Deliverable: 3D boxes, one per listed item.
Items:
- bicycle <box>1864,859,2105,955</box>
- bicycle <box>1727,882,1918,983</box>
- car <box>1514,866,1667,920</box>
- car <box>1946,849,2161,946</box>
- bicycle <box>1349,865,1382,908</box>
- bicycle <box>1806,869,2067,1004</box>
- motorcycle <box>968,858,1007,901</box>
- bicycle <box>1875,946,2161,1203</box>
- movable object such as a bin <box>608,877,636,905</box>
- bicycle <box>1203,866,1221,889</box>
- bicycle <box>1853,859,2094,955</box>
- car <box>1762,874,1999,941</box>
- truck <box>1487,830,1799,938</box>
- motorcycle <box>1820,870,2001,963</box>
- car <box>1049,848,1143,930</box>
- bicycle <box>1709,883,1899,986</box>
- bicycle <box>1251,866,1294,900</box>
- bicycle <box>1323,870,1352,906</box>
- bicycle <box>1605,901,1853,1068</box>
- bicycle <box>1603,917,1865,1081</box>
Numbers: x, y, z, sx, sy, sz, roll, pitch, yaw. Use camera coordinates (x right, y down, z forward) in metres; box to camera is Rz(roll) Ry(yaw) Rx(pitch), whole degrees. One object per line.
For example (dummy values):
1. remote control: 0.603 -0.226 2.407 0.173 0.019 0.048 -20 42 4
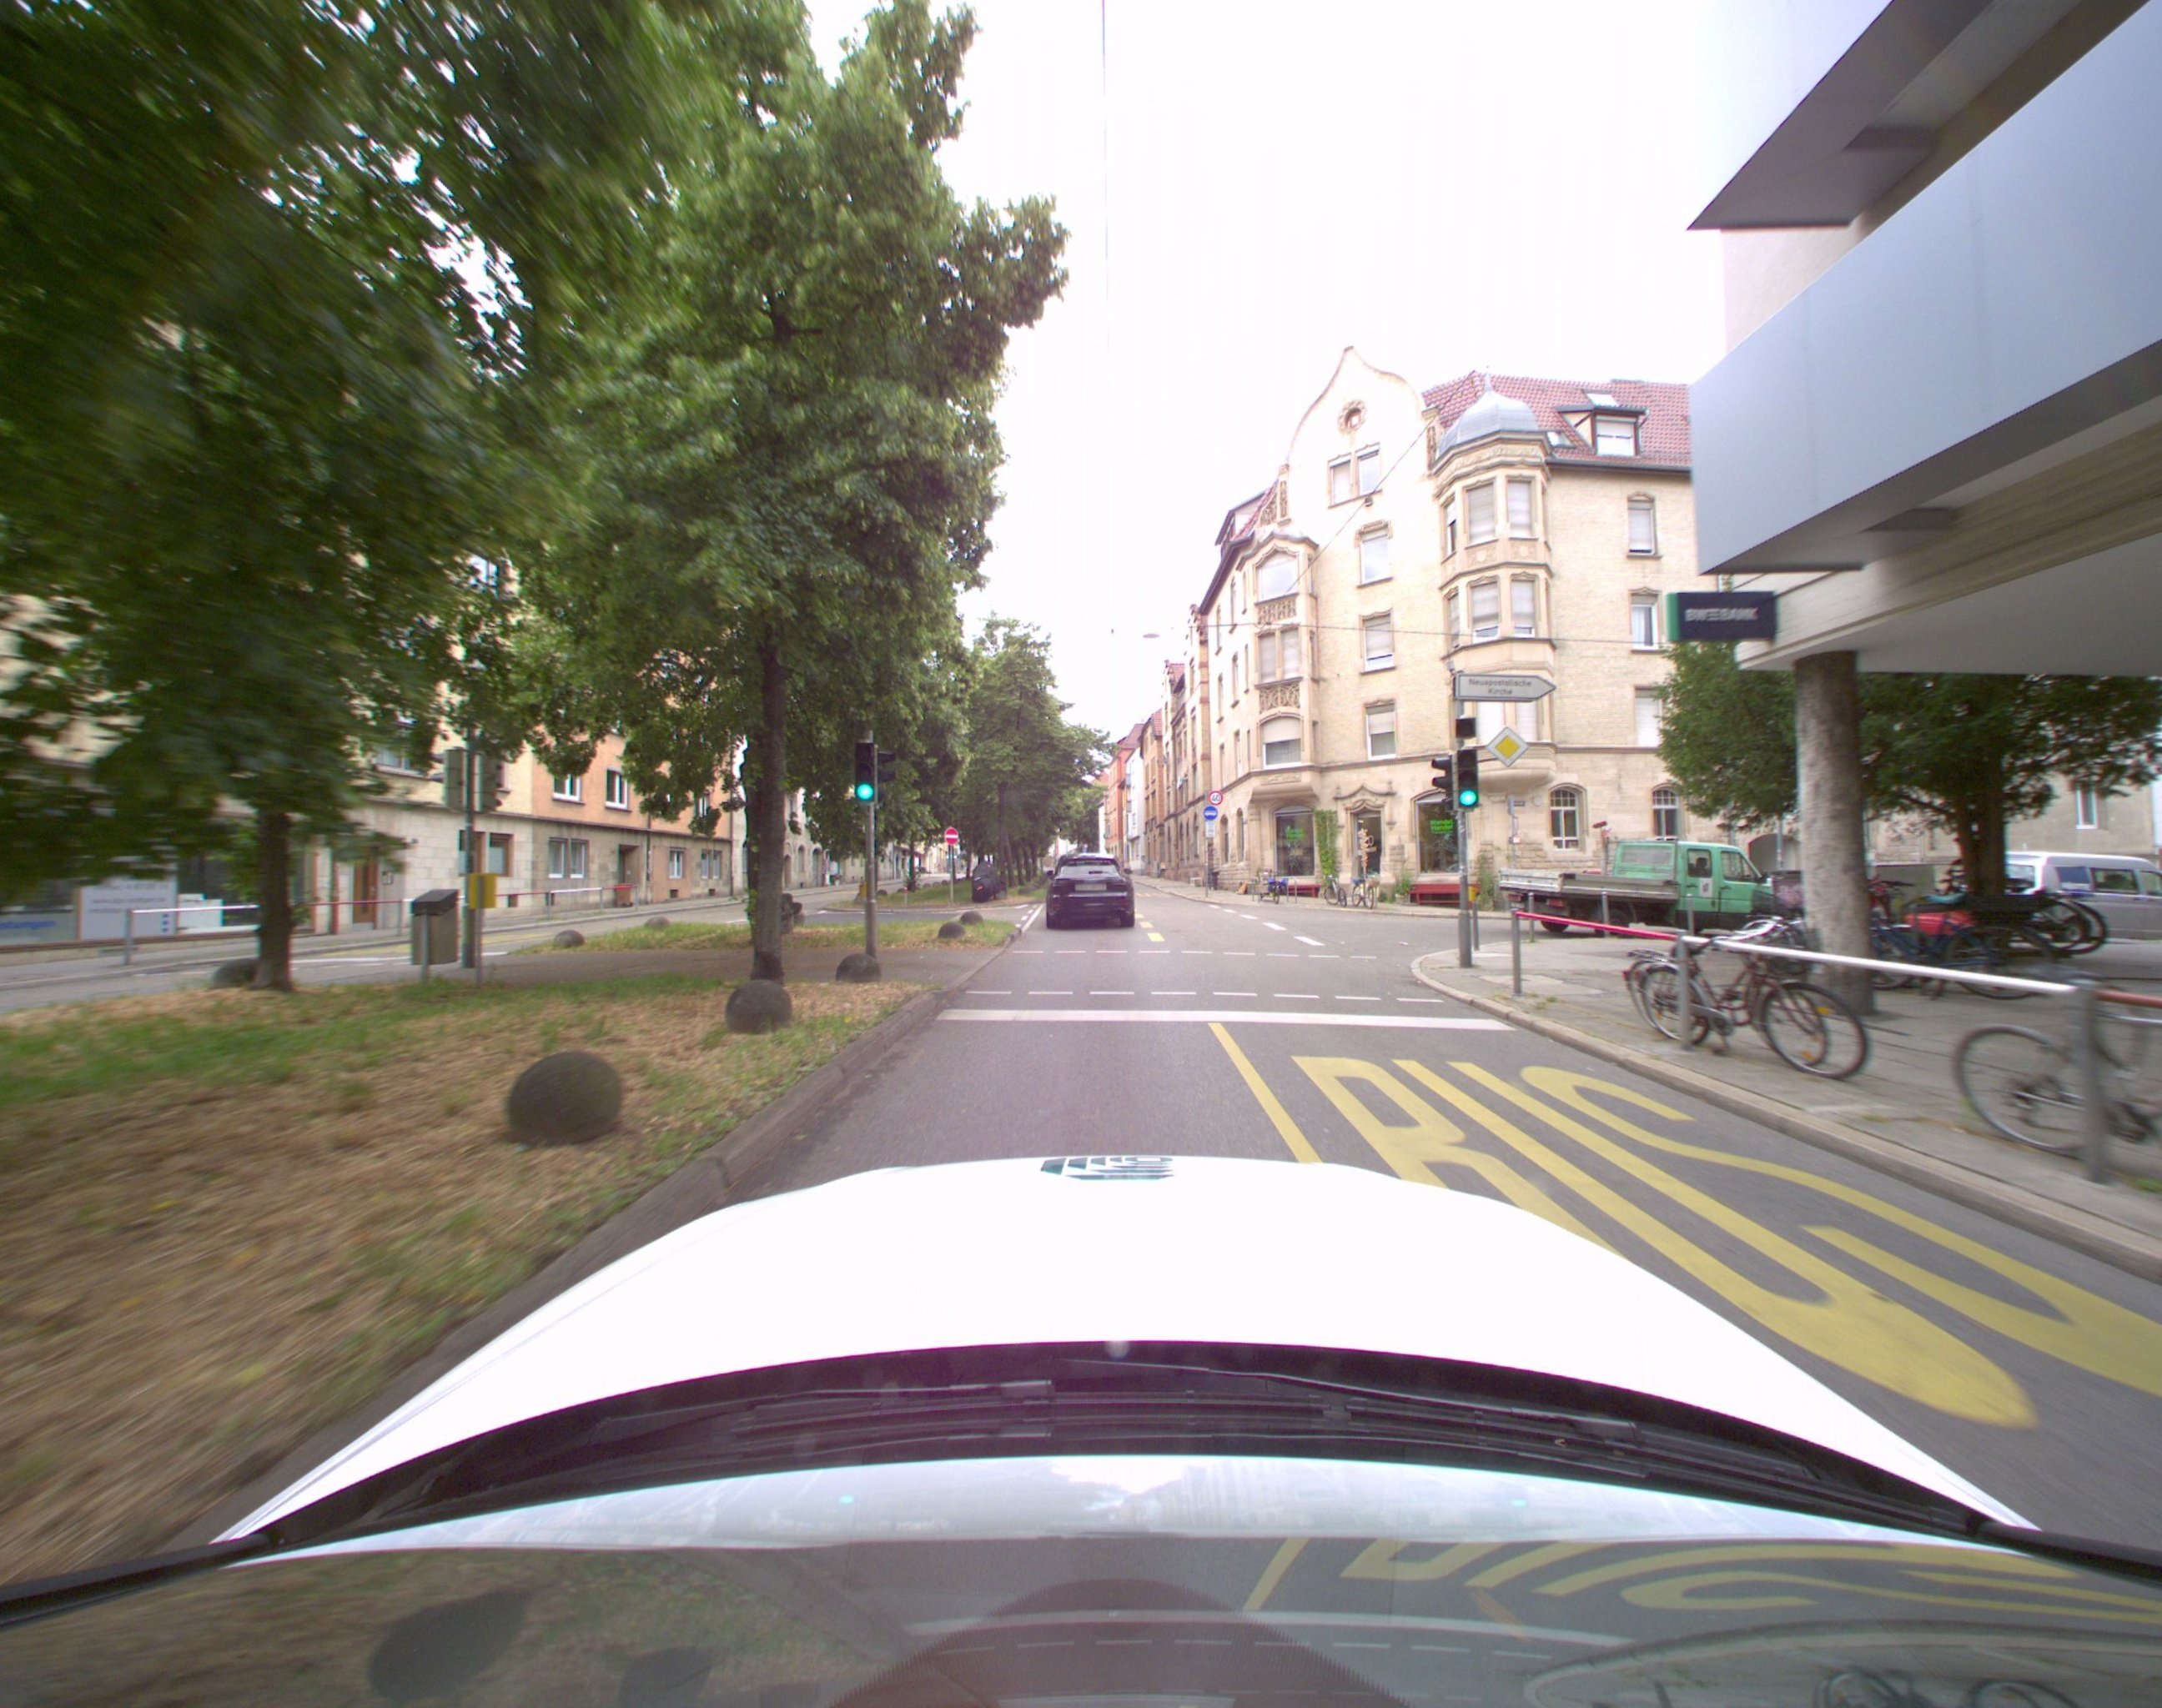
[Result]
1. bicycle: 12.362 0.675 11.283 0.278 1.187 2.314 0 -1 -17
2. bicycle: 8.632 0.867 9.587 0.319 1.043 1.751 0 -1 -16
3. car: 14.791 1.110 23.752 3.354 1.482 1.862 1 -1 -6
4. car: 23.349 0.990 19.081 4.455 2.127 1.879 1 -1 -5
5. bicycle: 9.161 1.037 26.292 0.445 1.161 1.835 -2 4 0
6. bicycle: 8.366 0.748 8.069 0.320 1.198 1.744 0 -1 -30
7. motorcycle: -3.372 0.900 29.554 1.016 1.446 2.247 -2 -1 2
8. bicycle: 4.728 0.972 3.684 0.567 0.931 1.775 0 -1 2
9. movable object such as a bin: -17.654 1.399 31.314 0.690 1.060 0.689 0 -2 -3
10. bicycle: 6.312 1.133 39.293 0.445 1.037 2.248 -1 -2 0
11. bicycle: 12.104 0.675 11.188 0.278 1.187 2.314 0 -1 -17
12. car: 18.181 1.194 18.633 3.804 1.407 1.843 1 -1 -5
13. truck: 12.254 0.641 17.956 5.556 2.133 2.375 1 0 -9
14. motorcycle: 10.822 0.774 10.723 0.567 1.106 1.802 0 -1 2
15. car: 0.275 0.735 19.319 1.988 1.665 3.998 0 1 -2
16. bicycle: 8.330 0.882 9.491 0.319 1.043 1.751 0 -1 -16
17. bicycle: 6.623 0.978 28.366 0.876 1.129 2.980 0 -1 1
18. bicycle: 8.392 1.094 26.727 0.347 1.059 1.834 2 0 0
19. bicycle: 4.979 0.939 6.418 0.286 1.054 1.754 0 -1 -11
20. bicycle: 4.757 0.997 6.097 0.286 0.931 1.754 0 -1 -11
